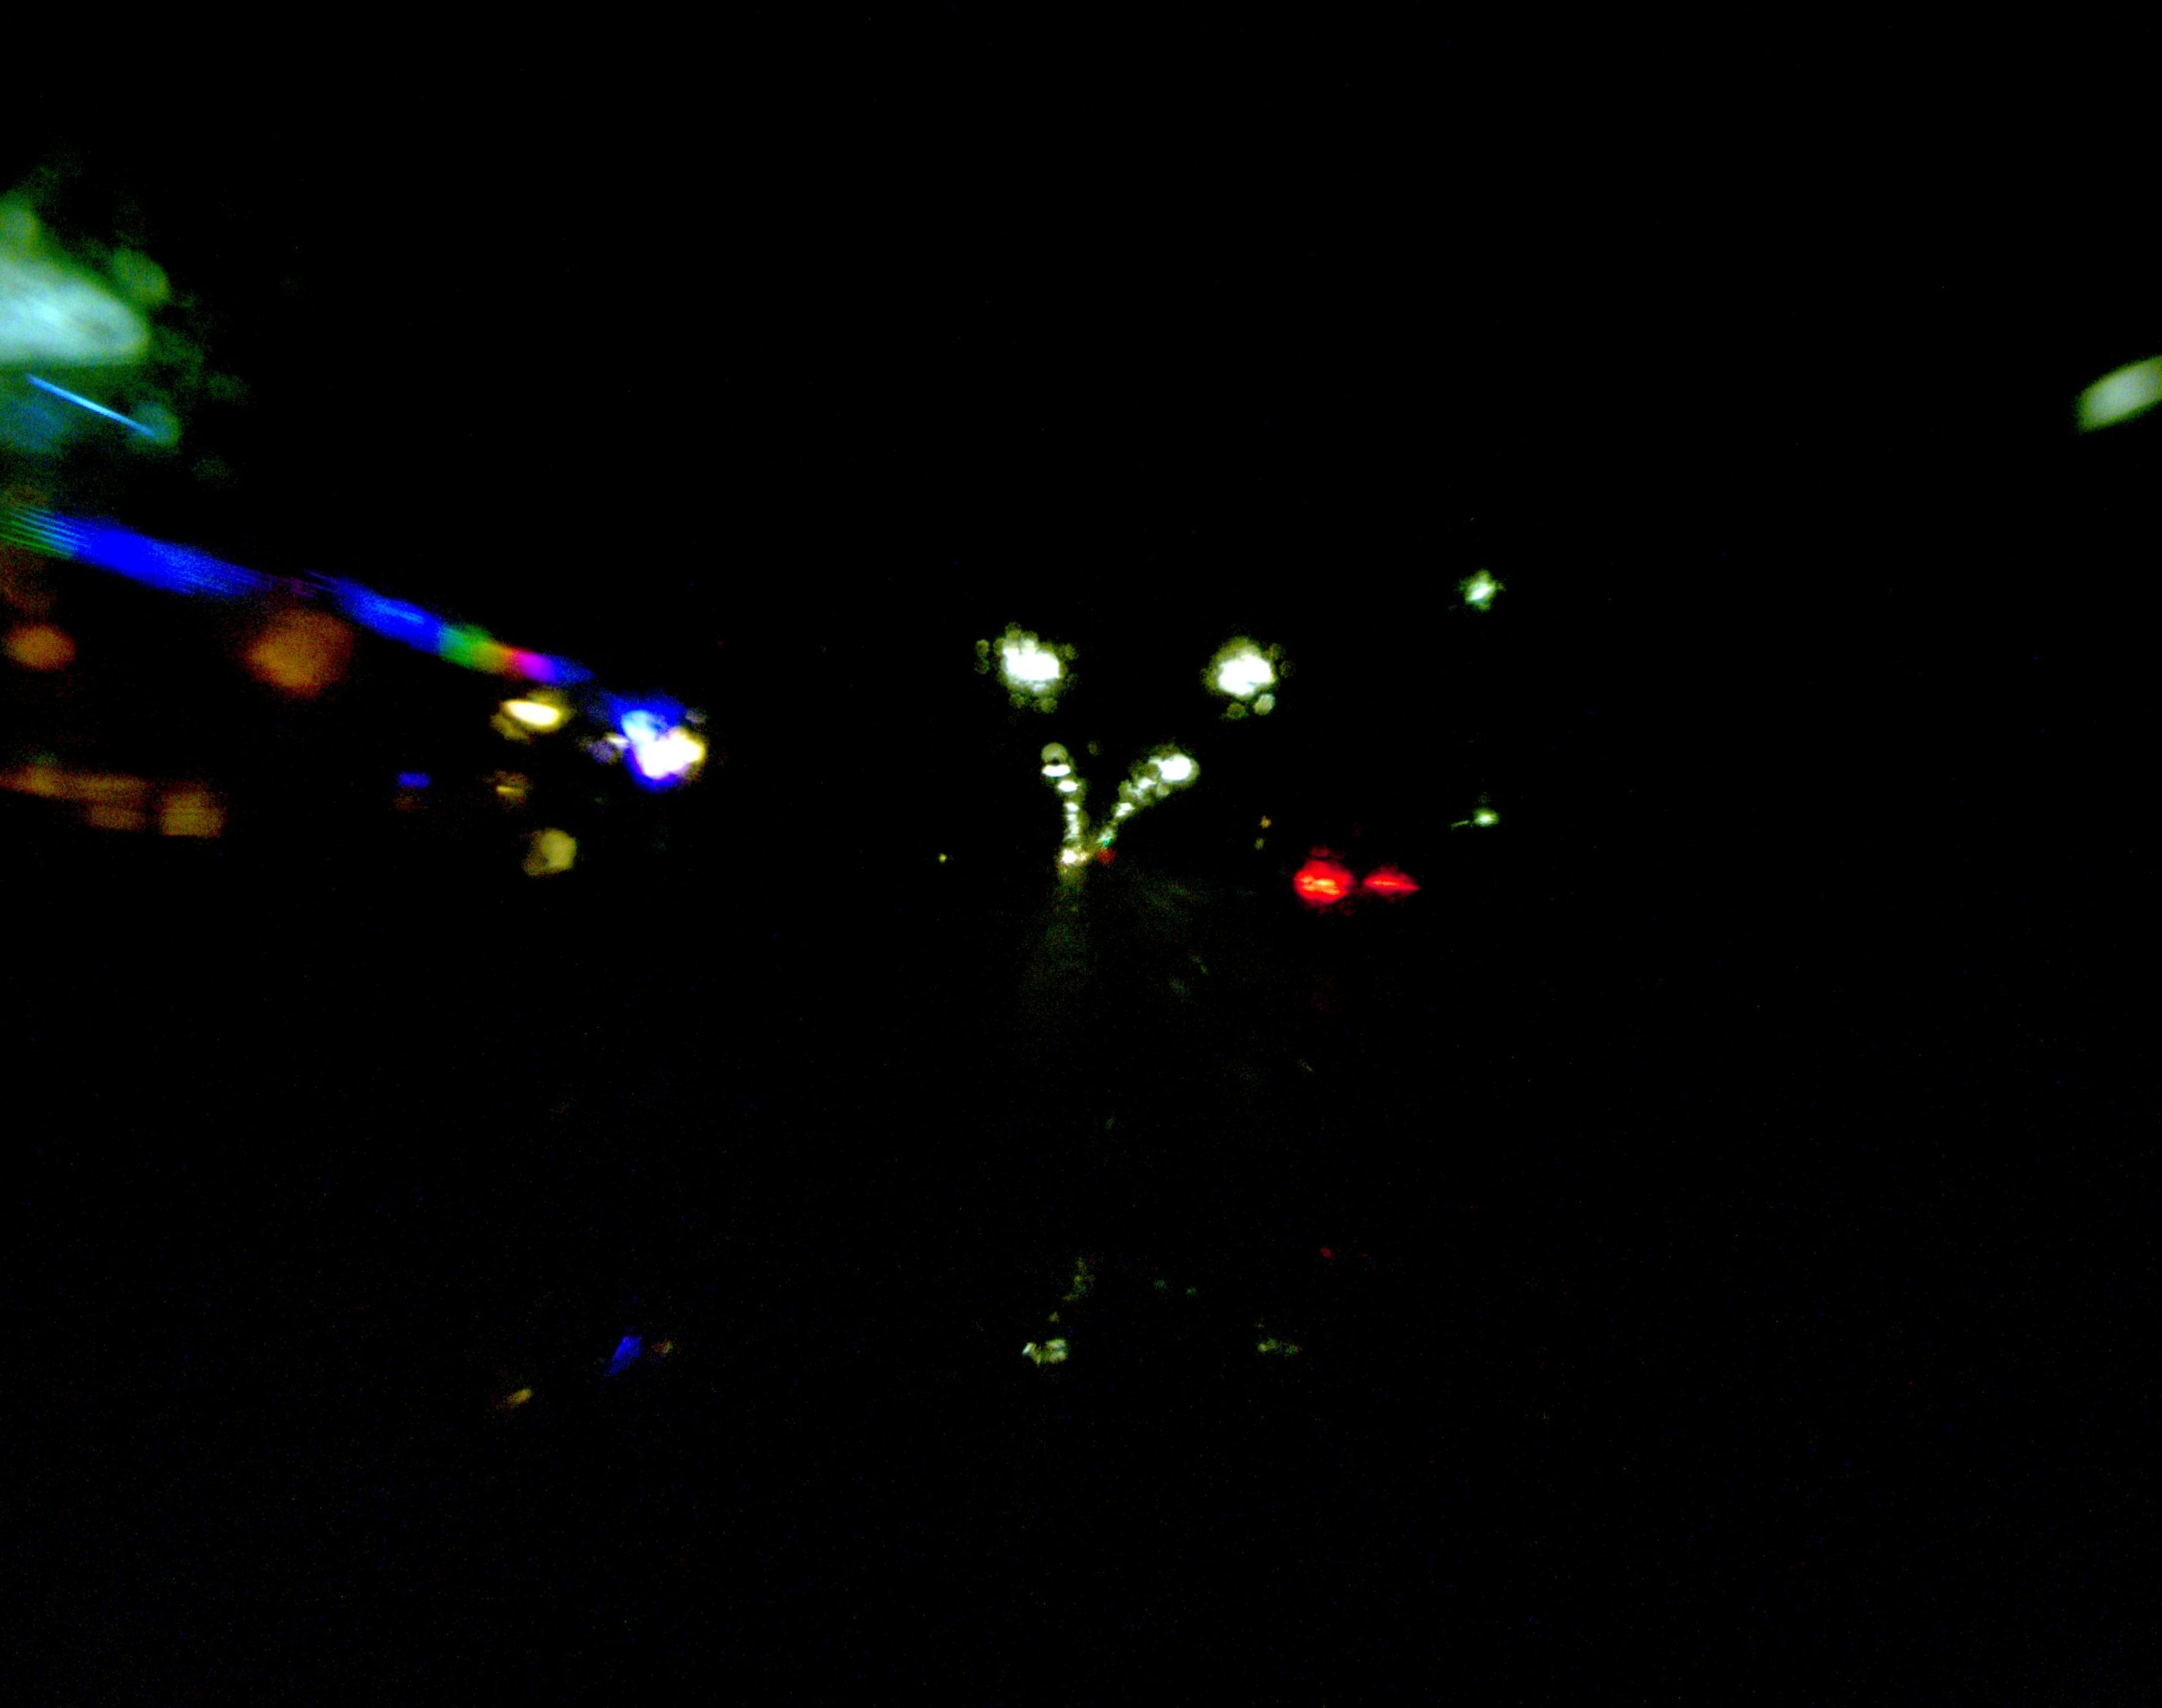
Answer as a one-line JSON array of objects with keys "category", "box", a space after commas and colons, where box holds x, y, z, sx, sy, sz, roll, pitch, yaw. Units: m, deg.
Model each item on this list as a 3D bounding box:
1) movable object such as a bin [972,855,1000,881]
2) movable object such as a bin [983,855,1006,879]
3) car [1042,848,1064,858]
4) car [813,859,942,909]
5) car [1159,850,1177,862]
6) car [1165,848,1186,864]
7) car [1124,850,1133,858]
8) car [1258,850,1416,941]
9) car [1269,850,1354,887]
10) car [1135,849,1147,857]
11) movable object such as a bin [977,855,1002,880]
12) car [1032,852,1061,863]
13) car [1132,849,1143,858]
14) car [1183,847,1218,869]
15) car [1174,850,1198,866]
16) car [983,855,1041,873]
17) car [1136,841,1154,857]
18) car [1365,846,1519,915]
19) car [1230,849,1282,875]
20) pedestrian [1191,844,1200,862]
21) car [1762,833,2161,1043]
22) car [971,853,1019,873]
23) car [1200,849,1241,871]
[{"category": "movable object such as a bin", "box": [-5.393, 0.795, 43.240, 1.371, 1.414, 1.073, 0, 1, 6]}, {"category": "movable object such as a bin", "box": [-5.143, 0.745, 45.488, 1.326, 1.400, 1.159, 0, 1, -5]}, {"category": "car", "box": [-5.506, -0.180, 149.760, 3.965, 1.761, 1.666, -2, 1, -37]}, {"category": "car", "box": [-7.225, 1.008, 26.954, 4.111, 1.528, 1.956, -2, 1, -25]}, {"category": "car", "box": [10.658, 0.235, 93.185, 1.723, 1.447, 3.950, -2, 1, 0]}, {"category": "car", "box": [10.466, 0.220, 84.437, 1.814, 1.569, 4.353, -4, 0, 1]}, {"category": "car", "box": [10.572, -0.013, 168.874, 1.693, 1.566, 3.917, -2, 1, 1]}, {"category": "car", "box": [4.838, 0.707, 15.000, 1.780, 1.509, 4.050, -2, 0, 1]}, {"category": "car", "box": [9.965, 0.563, 33.267, 1.893, 1.454, 4.957, -1, 1, -4]}, {"category": "car", "box": [10.941, -0.166, 139.075, 1.720, 1.399, 3.389, -4, 1, 0]}, {"category": "movable object such as a bin", "box": [-5.344, 0.774, 44.354, 1.210, 1.414, 1.101, 0, 1, 6]}, {"category": "car", "box": [-4.736, 0.473, 105.253, 1.707, 1.503, 3.914, -1, 1, 44]}, {"category": "car", "box": [10.925, -0.136, 147.679, 1.846, 1.573, 3.663, -4, 1, 0]}, {"category": "car", "box": [10.108, 0.309, 64.396, 2.149, 1.610, 4.588, -4, 1, 0]}, {"category": "car", "box": [10.085, 0.348, 73.411, 1.735, 1.430, 4.625, -2, 1, 1]}, {"category": "car", "box": [-5.904, 0.841, 64.618, 4.604, 1.467, 1.837, 0, 1, -19]}, {"category": "car", "box": [10.665, -0.882, 126.676, 2.248, 2.494, 5.258, -4, 1, -2]}, {"category": "car", "box": [9.668, 0.626, 20.778, 1.885, 1.536, 4.398, -5, 1, -2]}, {"category": "car", "box": [9.980, 0.420, 43.665, 1.845, 1.415, 4.207, -1, 1, -3]}, {"category": "pedestrian", "box": [12.407, -0.148, 82.429, 0.794, 1.890, 1.290, -2, 1, 1]}, {"category": "car", "box": [9.504, 0.634, 7.247, 1.988, 1.622, 4.516, -2, 1, 0]}, {"category": "car", "box": [-7.010, 0.712, 61.878, 3.708, 1.509, 1.656, 0, 1, -18]}, {"category": "car", "box": [9.688, 0.391, 53.036, 1.778, 1.432, 4.606, -1, 1, -3]}]
